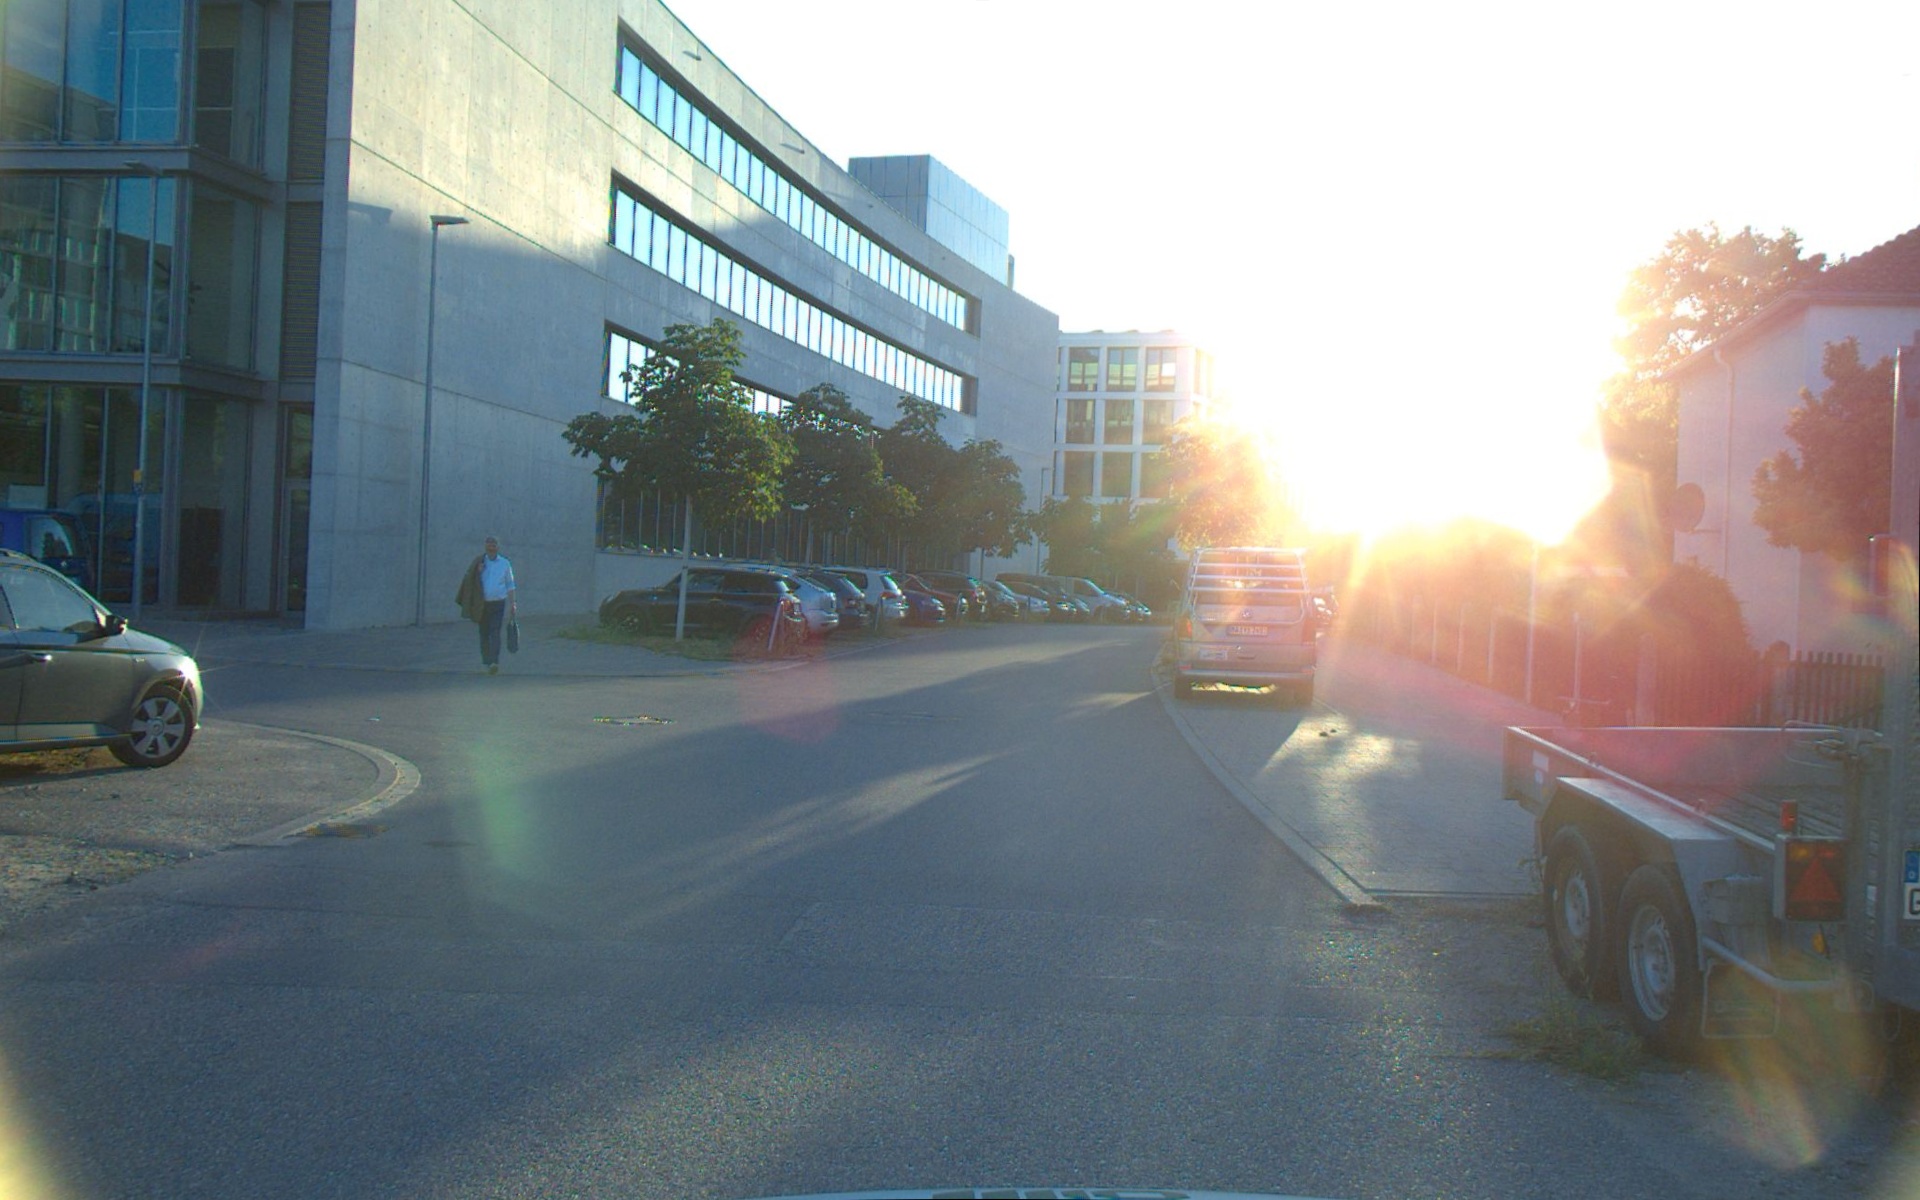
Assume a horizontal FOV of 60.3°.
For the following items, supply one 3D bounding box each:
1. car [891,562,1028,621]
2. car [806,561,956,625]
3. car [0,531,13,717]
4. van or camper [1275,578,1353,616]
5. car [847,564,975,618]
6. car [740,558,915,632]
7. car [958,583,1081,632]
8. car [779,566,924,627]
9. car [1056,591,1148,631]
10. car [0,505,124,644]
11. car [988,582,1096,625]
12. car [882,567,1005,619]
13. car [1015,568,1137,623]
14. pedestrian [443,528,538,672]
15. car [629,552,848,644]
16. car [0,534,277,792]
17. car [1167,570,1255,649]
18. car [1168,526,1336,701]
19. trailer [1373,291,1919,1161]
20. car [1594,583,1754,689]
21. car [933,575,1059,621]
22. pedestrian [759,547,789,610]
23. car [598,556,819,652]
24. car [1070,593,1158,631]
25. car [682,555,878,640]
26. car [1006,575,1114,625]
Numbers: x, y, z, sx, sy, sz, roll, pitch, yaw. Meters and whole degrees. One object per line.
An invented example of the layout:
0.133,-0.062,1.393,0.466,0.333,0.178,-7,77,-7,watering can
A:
0.013,-0.285,55.766,4.217,1.726,1.898,3,0,13,car
-2.179,-0.202,46.082,3.788,1.537,1.761,4,1,11,car
-8.501,0.153,11.185,1.627,1.447,3.725,3,0,9,car
26.469,-0.255,123.617,5.346,2.527,1.774,4,2,26,van or camper
-1.494,-0.268,51.284,3.623,1.483,1.713,3,0,12,car
-3.221,-0.129,40.615,3.902,1.537,1.761,4,1,10,car
2.303,0.289,63.858,4.308,1.525,1.763,5,0,21,car
-2.851,-0.101,43.960,3.556,1.385,1.687,3,1,6,car
6.568,0.504,76.466,3.904,1.548,1.606,5,0,17,car
-14.499,-0.455,23.858,3.999,1.863,1.849,3,2,9,car
3.393,0.133,68.284,4.058,1.428,1.725,5,0,17,car
-0.508,-0.225,53.466,3.624,1.483,1.680,3,0,13,car
5.143,-0.200,73.402,4.971,1.980,1.889,5,0,18,car
-6.326,-0.007,22.294,0.841,1.882,0.897,2,1,42,pedestrian
-4.425,-0.056,33.464,4.000,1.555,1.847,4,1,4,car
-6.444,0.331,10.598,1.651,1.545,4.365,4,0,10,car
5.502,0.179,35.958,1.703,1.579,3.643,2,1,11,car
3.967,0.136,23.161,2.021,2.131,4.876,2,1,7,car
3.411,0.316,6.897,2.022,2.250,5.223,2,1,0,trailer
10.960,0.499,25.602,1.496,1.469,3.643,2,1,11,car
1.362,-0.093,61.652,4.340,1.489,1.764,3,1,17,car
-5.565,-0.639,49.495,0.632,1.815,0.726,3,0,11,pedestrian
-4.603,0.052,30.646,3.656,1.507,1.771,4,1,5,car
7.338,0.567,78.730,3.806,1.514,1.652,4,1,19,car
-3.855,-0.071,35.788,3.914,1.538,1.586,4,2,4,car
4.240,-0.009,70.153,4.159,1.772,1.725,5,0,17,car
